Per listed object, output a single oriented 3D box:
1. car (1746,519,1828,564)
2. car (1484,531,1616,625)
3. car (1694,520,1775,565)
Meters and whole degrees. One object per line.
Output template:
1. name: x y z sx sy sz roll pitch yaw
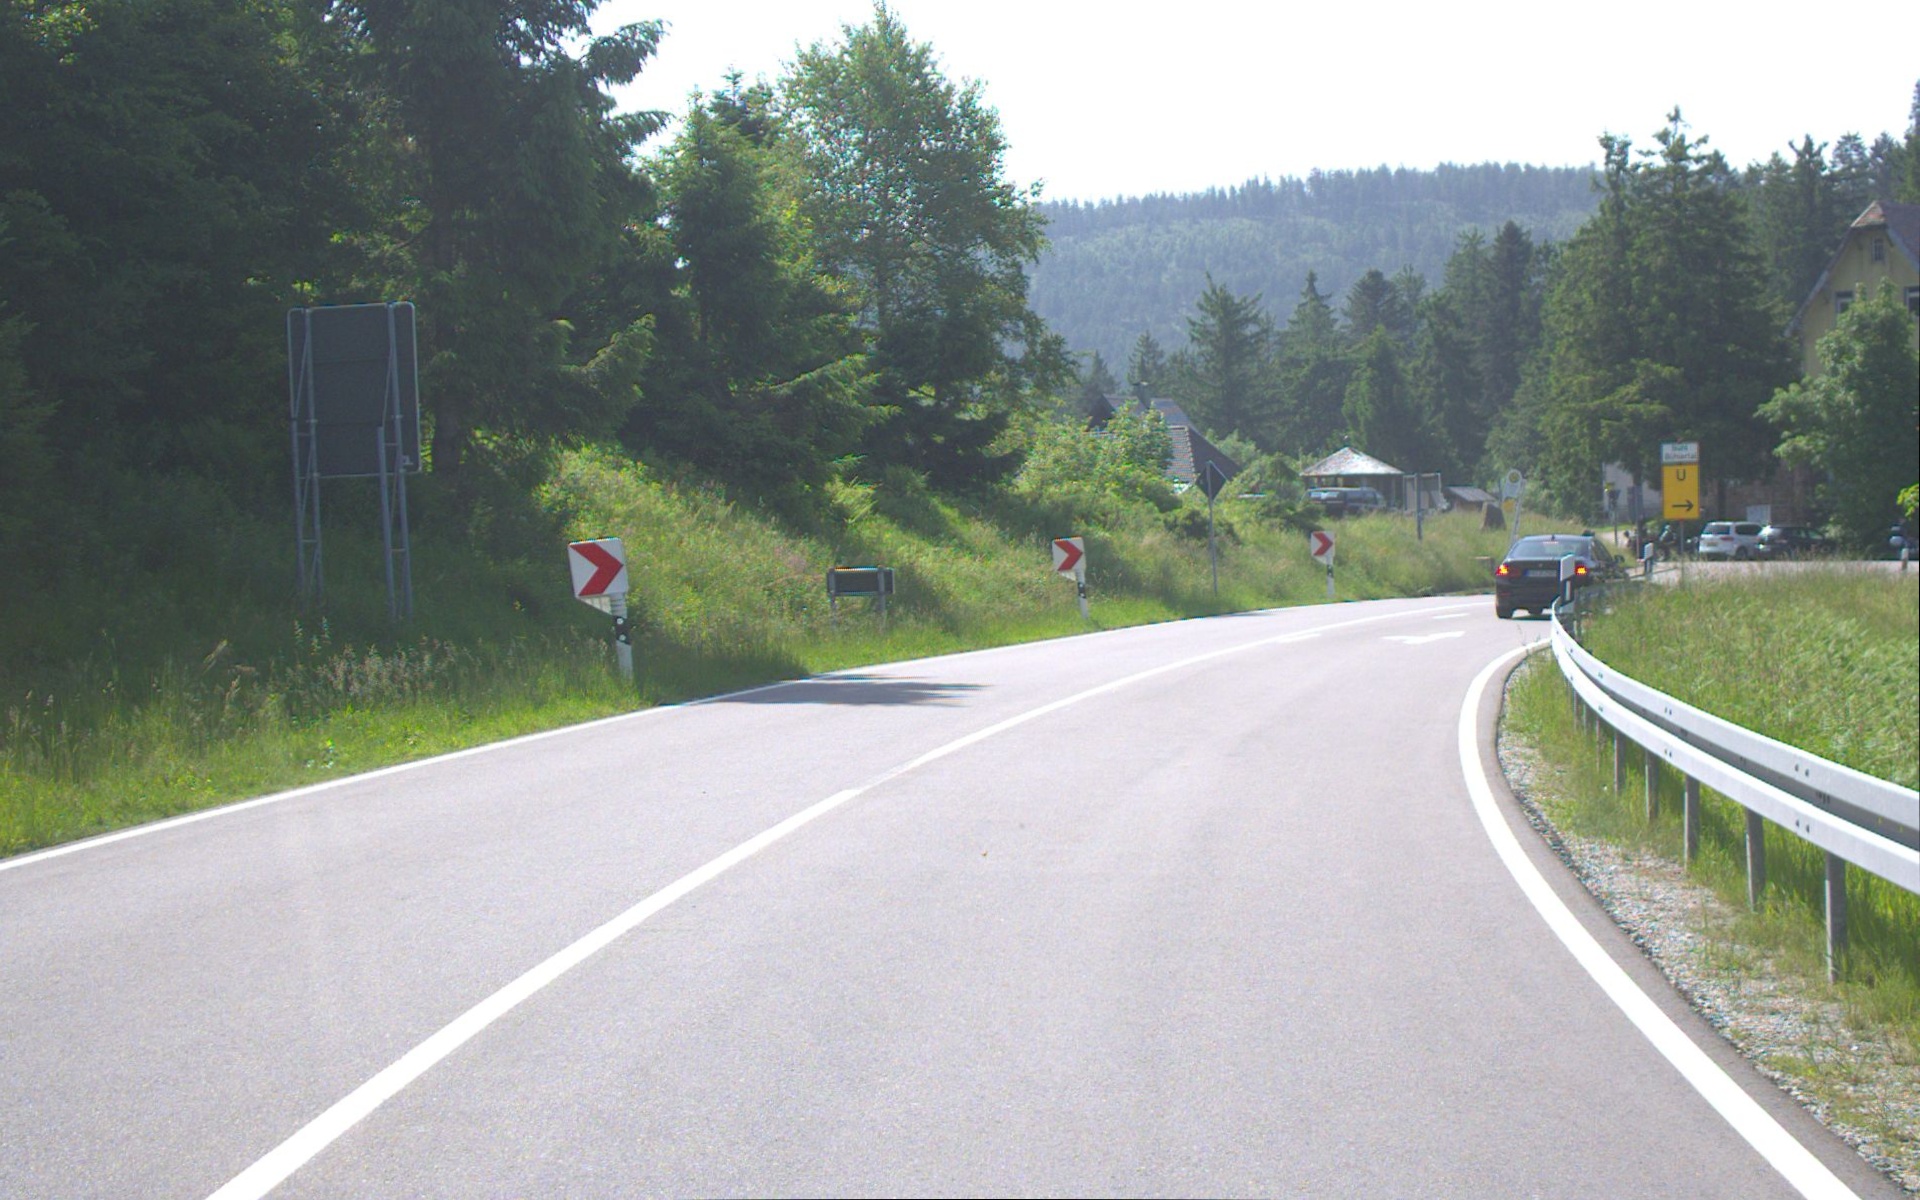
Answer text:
1. car: 33.111 -2.360 137.598 1.891 1.642 4.287 -2 1 32
2. car: 10.125 -0.399 58.806 1.777 1.437 3.706 1 3 16
3. car: 31.456 -2.338 139.506 1.857 1.665 4.377 -2 1 31
